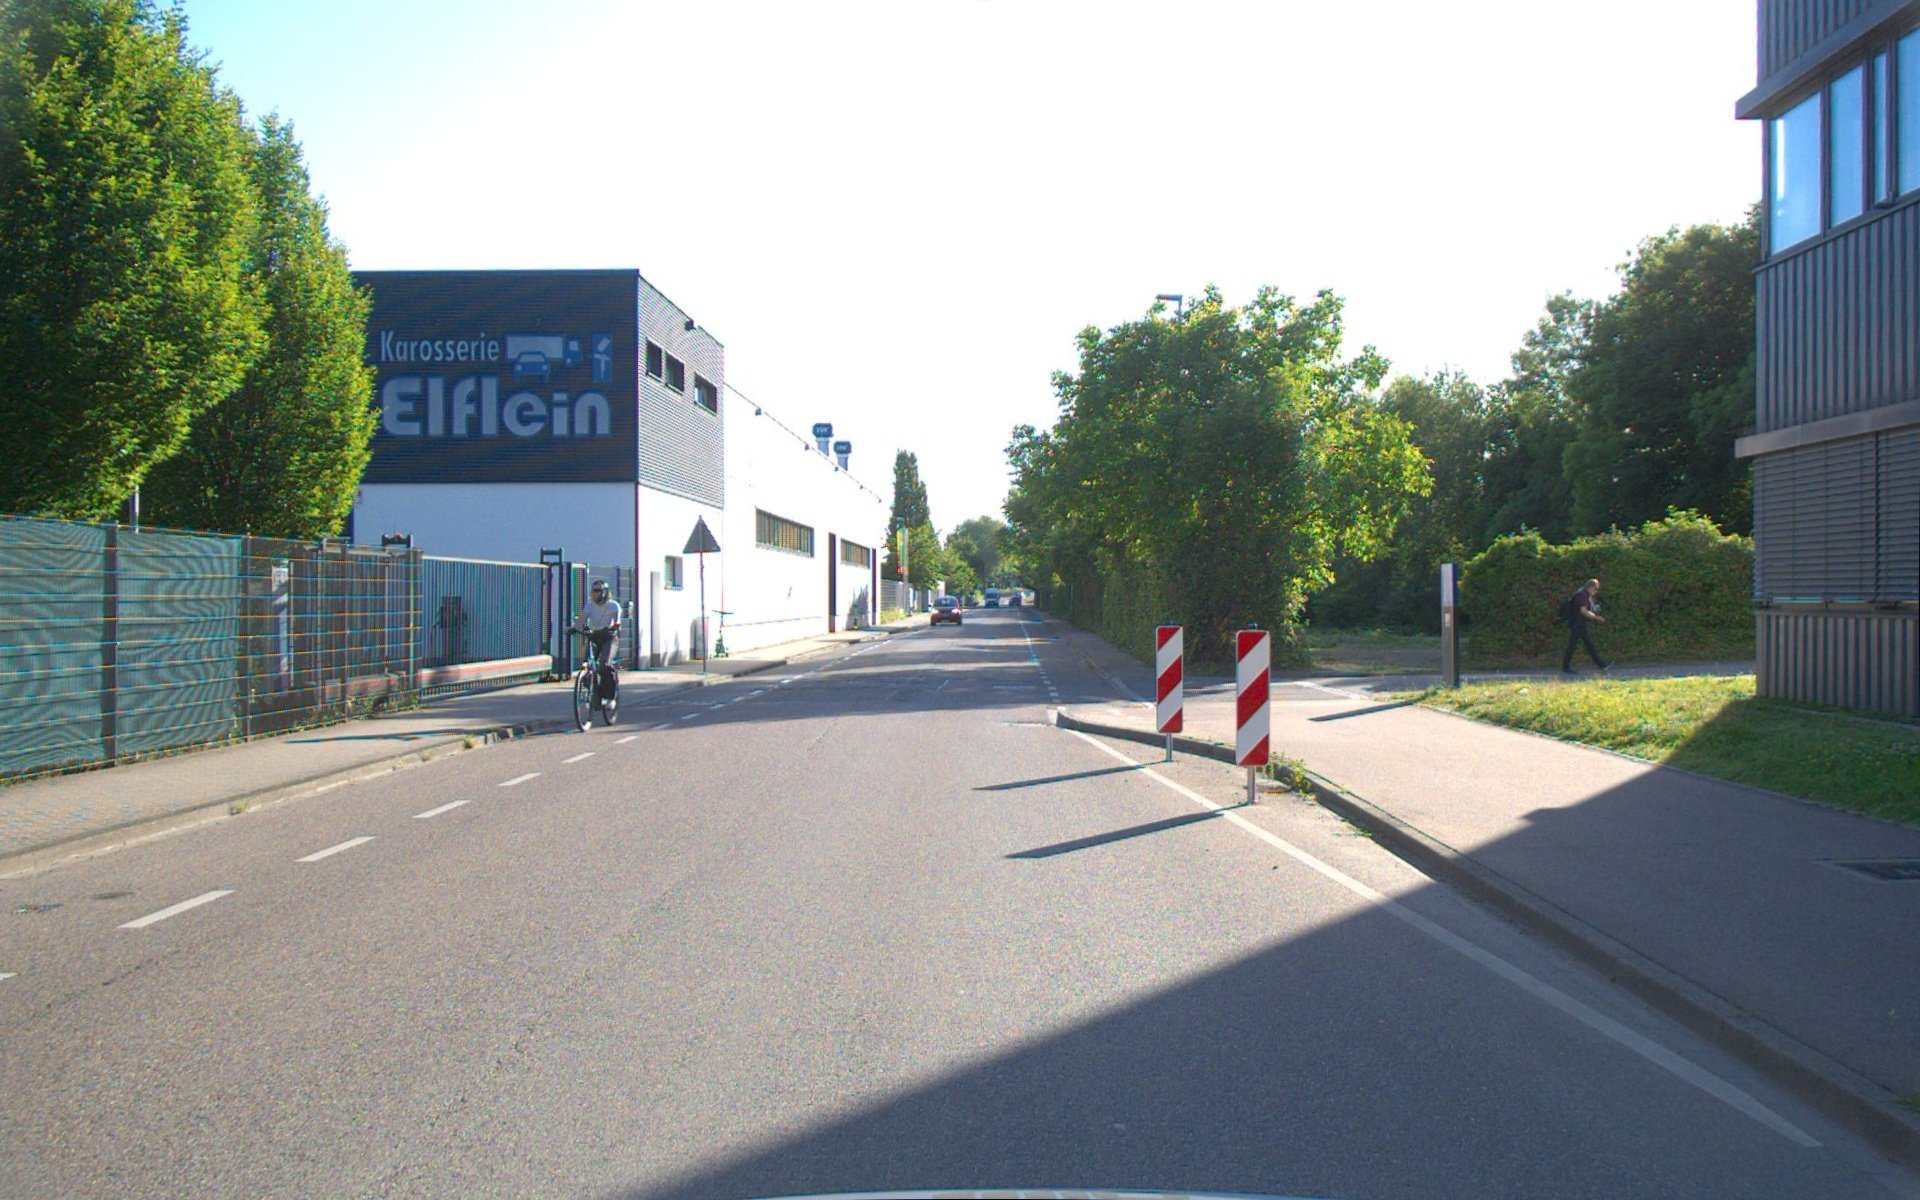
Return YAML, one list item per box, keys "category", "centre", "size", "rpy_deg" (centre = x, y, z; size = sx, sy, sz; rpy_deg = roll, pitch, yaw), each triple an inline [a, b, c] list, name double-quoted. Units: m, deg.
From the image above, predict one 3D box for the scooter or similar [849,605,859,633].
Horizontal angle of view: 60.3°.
- category: "scooter or similar"
  centre: [-4.952, 0.883, 77.338]
  size: [0.407, 1.289, 1.060]
  rpy_deg: [0, 0, 2]

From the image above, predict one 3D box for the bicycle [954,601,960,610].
- category: "bicycle"
  centre: [-0.342, 0.658, 198.079]
  size: [0.675, 1.052, 1.351]
  rpy_deg: [1, 0, 2]

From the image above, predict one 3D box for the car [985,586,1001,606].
- category: "car"
  centre: [4.837, -0.605, 241.432]
  size: [2.079, 2.829, 5.928]
  rpy_deg: [-2, 0, 2]

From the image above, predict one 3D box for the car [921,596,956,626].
- category: "car"
  centre: [-1.170, 0.602, 92.062]
  size: [1.780, 1.515, 4.000]
  rpy_deg: [-4, 0, 0]

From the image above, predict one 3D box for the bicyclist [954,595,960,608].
- category: "bicyclist"
  centre: [-0.333, 0.157, 198.036]
  size: [0.675, 1.558, 0.722]
  rpy_deg: [1, 0, 2]

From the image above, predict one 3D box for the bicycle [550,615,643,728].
- category: "bicycle"
  centre: [-4.506, 0.856, 20.633]
  size: [0.653, 1.311, 2.172]
  rpy_deg: [0, 0, 0]

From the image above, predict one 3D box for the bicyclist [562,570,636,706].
- category: "bicyclist"
  centre: [-4.497, 0.458, 20.635]
  size: [0.731, 1.656, 0.833]
  rpy_deg: [0, 0, 0]

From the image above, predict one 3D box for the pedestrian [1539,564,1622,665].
- category: "pedestrian"
  centre: [11.691, 0.273, 31.180]
  size: [1.129, 1.823, 0.896]
  rpy_deg: [-3, 0, -2]

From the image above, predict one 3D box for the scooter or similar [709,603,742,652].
- category: "scooter or similar"
  centre: [-6.103, 0.701, 43.060]
  size: [0.496, 1.224, 1.754]
  rpy_deg: [3, 0, 2]
